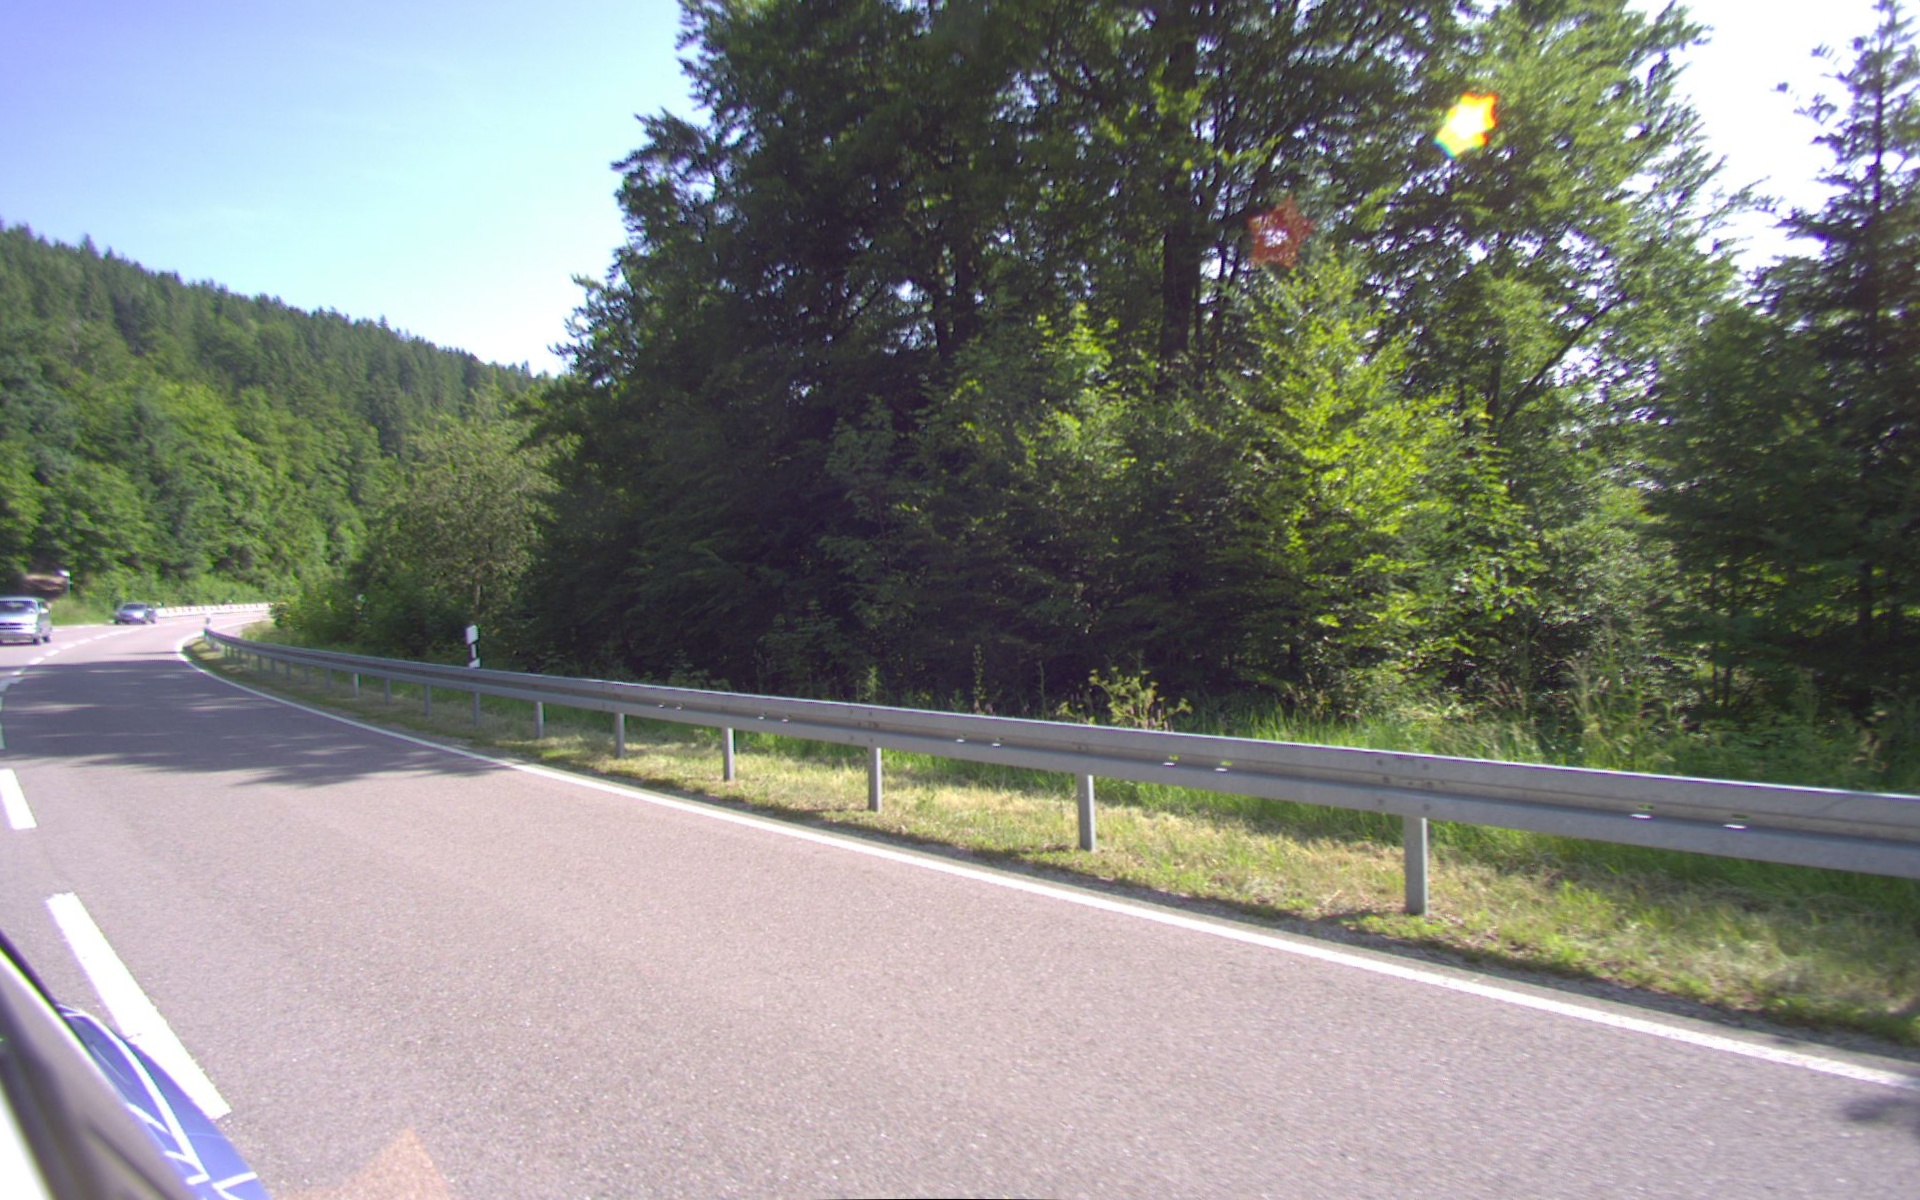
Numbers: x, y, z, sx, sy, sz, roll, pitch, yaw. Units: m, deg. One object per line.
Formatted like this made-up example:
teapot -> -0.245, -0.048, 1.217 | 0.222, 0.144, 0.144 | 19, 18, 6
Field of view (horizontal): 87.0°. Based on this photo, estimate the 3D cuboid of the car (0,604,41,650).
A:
car -> -38.412, 1.067, 40.922 | 1.628, 1.773, 3.801 | 1, 0, -39

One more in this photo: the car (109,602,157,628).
car -> -56.003, 1.000, 68.622 | 1.966, 1.655, 4.012 | -1, 0, -31
